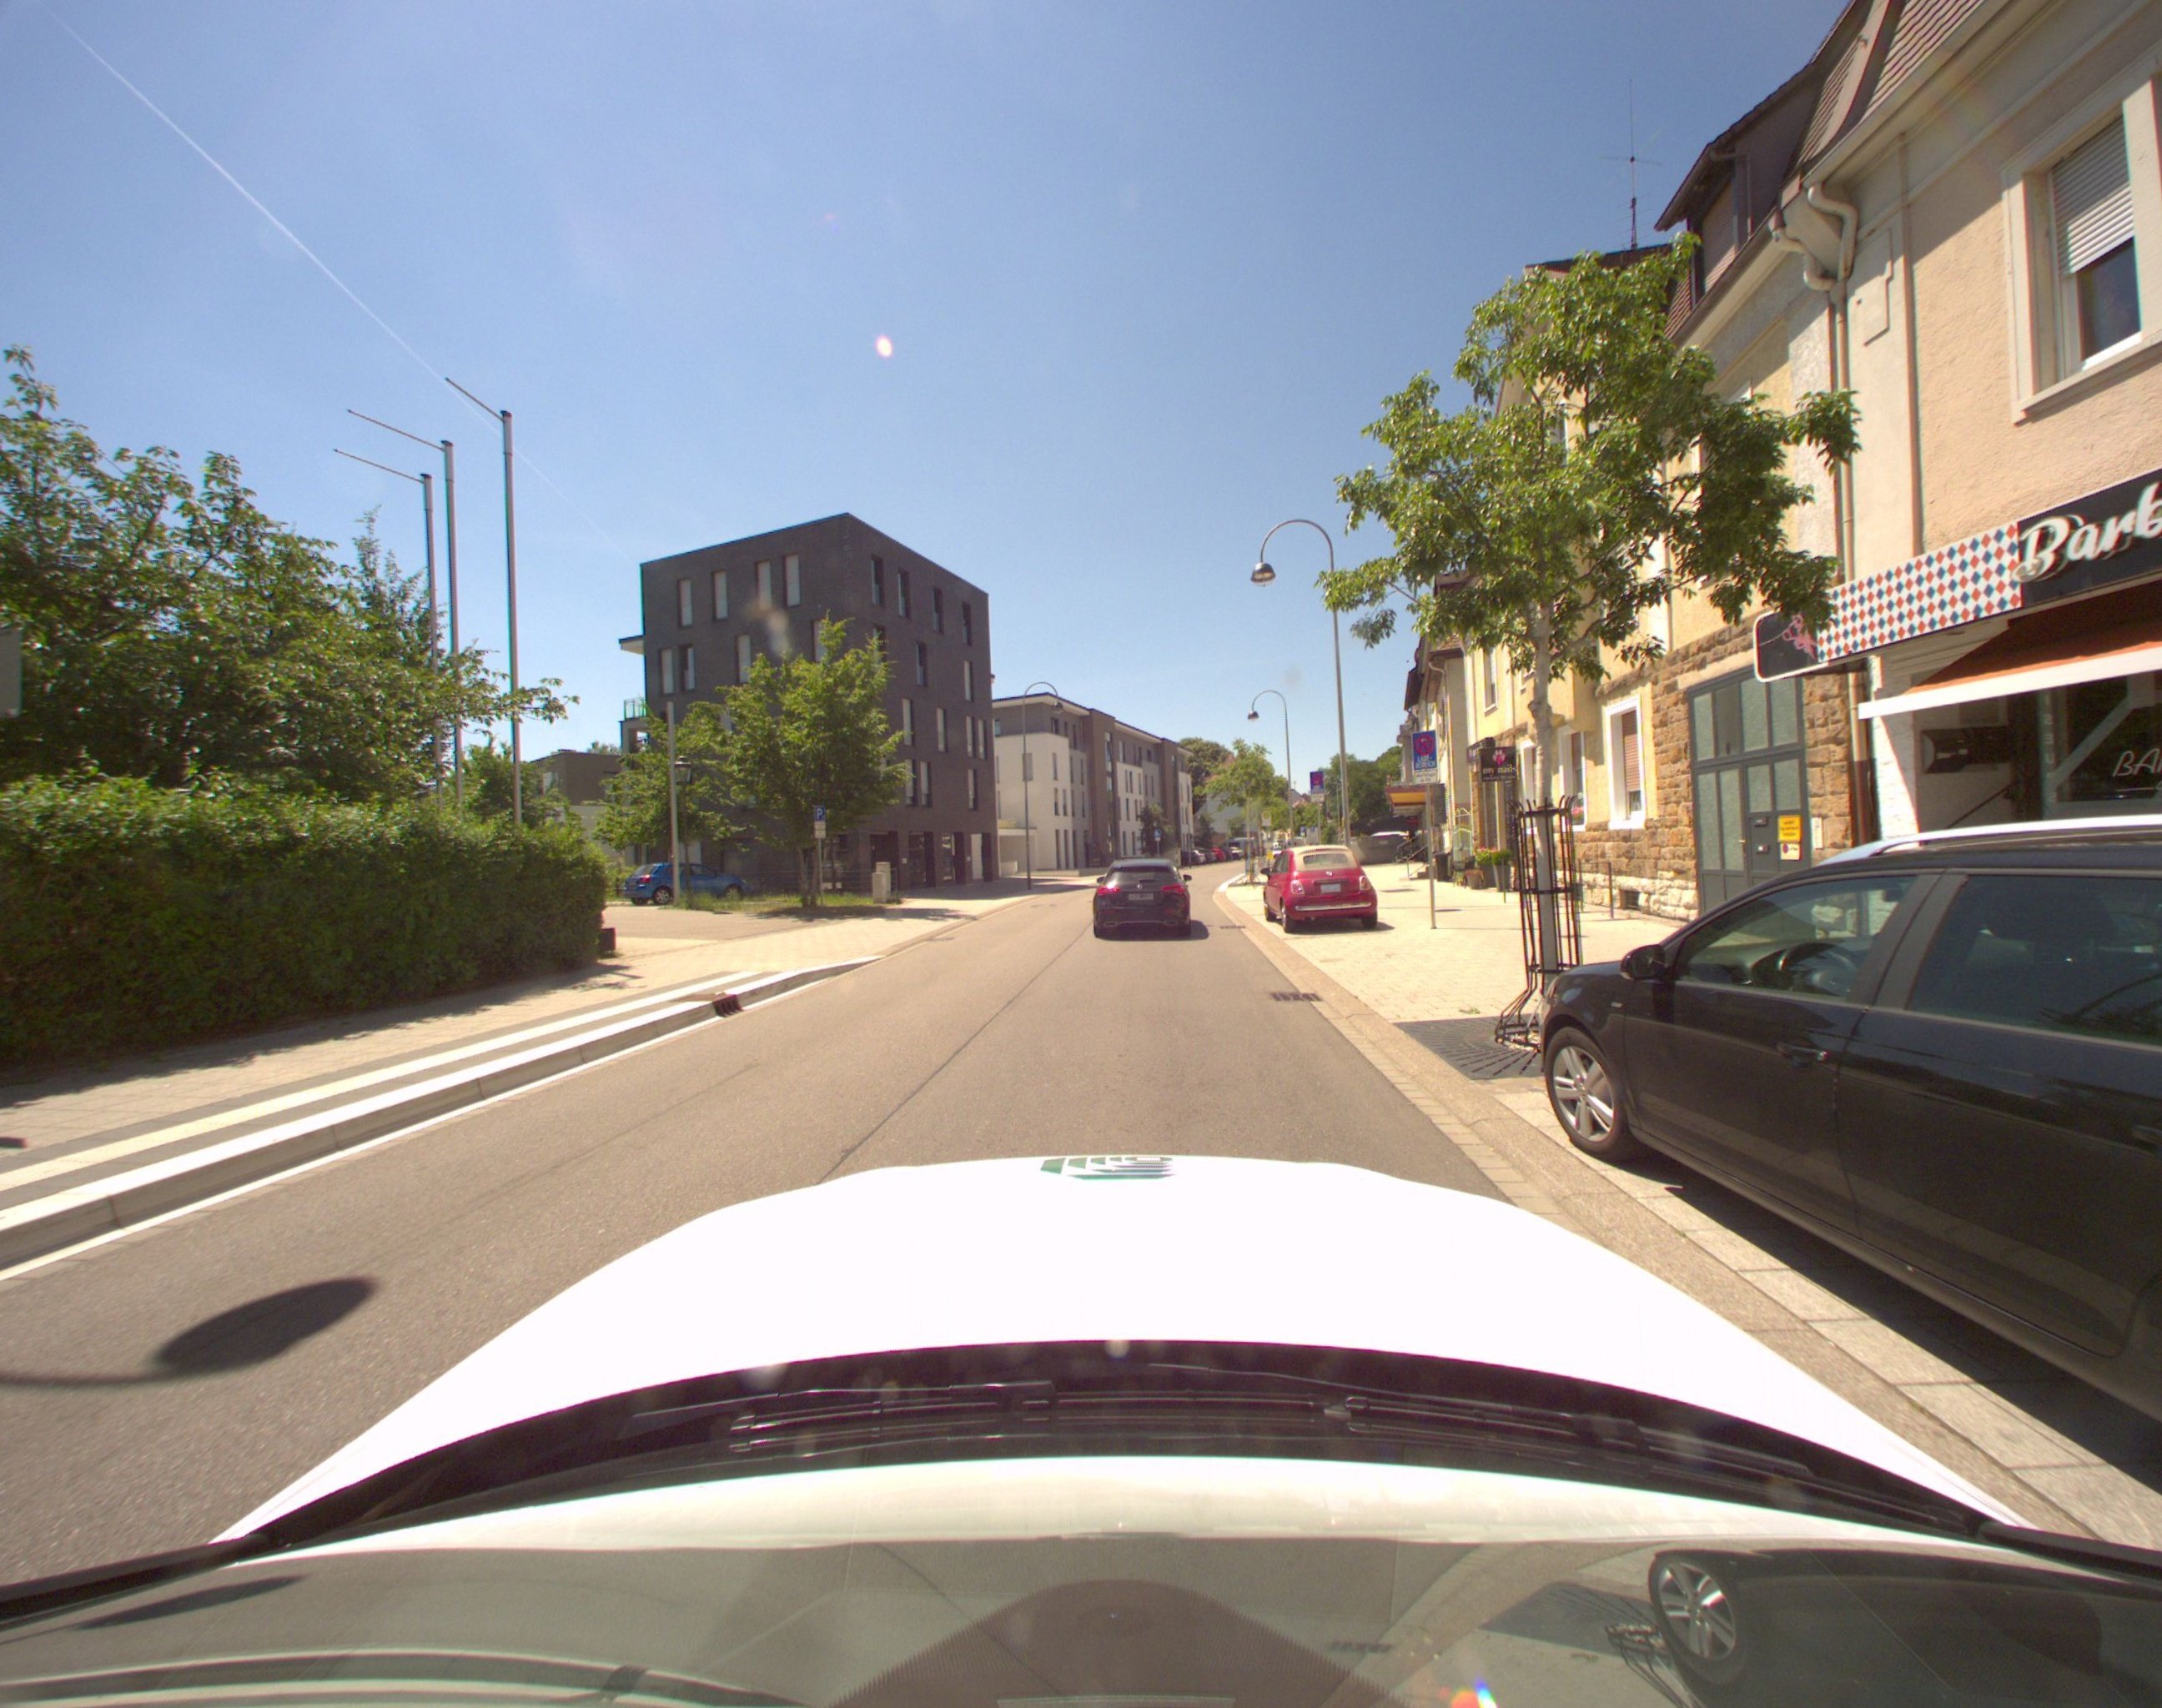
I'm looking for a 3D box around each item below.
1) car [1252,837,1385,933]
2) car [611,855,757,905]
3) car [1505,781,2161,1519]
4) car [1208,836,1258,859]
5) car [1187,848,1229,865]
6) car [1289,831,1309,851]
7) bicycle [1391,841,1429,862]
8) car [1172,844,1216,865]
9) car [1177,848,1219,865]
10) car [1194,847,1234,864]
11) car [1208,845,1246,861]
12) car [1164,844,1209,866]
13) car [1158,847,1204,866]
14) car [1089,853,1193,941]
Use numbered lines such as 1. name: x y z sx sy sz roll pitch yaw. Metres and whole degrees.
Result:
1. car: 4.373 0.526 15.513 1.599 1.530 3.495 -4 0 3
2. car: -14.041 0.873 29.015 1.974 1.569 4.195 -2 0 36
3. car: 3.066 0.552 2.300 1.742 1.486 4.004 -5 0 4
4. car: 18.983 -0.802 101.537 5.590 2.579 2.530 -2 0 25
5. car: 13.672 0.249 87.678 3.951 1.662 2.011 -2 0 24
6. car: 23.998 -1.402 89.885 1.979 2.013 4.015 -2 0 14
7. bicycle: 19.461 -0.138 48.180 2.028 1.178 0.897 -2 0 23
8. car: 11.447 0.085 82.688 3.950 2.013 2.012 -2 0 25
9. car: 12.248 0.229 85.150 3.951 1.662 2.011 -2 0 24
10. car: 14.912 0.161 91.398 3.951 1.662 2.011 -2 0 24
11. car: 17.326 -0.113 96.605 3.951 1.662 2.011 -2 0 24
12. car: 10.431 0.057 80.521 3.950 2.013 2.012 -2 0 25
13. car: 9.604 0.267 78.150 3.951 1.662 2.011 -2 0 24
14. car: 1.290 0.757 16.455 1.754 1.457 4.446 -3 0 6
